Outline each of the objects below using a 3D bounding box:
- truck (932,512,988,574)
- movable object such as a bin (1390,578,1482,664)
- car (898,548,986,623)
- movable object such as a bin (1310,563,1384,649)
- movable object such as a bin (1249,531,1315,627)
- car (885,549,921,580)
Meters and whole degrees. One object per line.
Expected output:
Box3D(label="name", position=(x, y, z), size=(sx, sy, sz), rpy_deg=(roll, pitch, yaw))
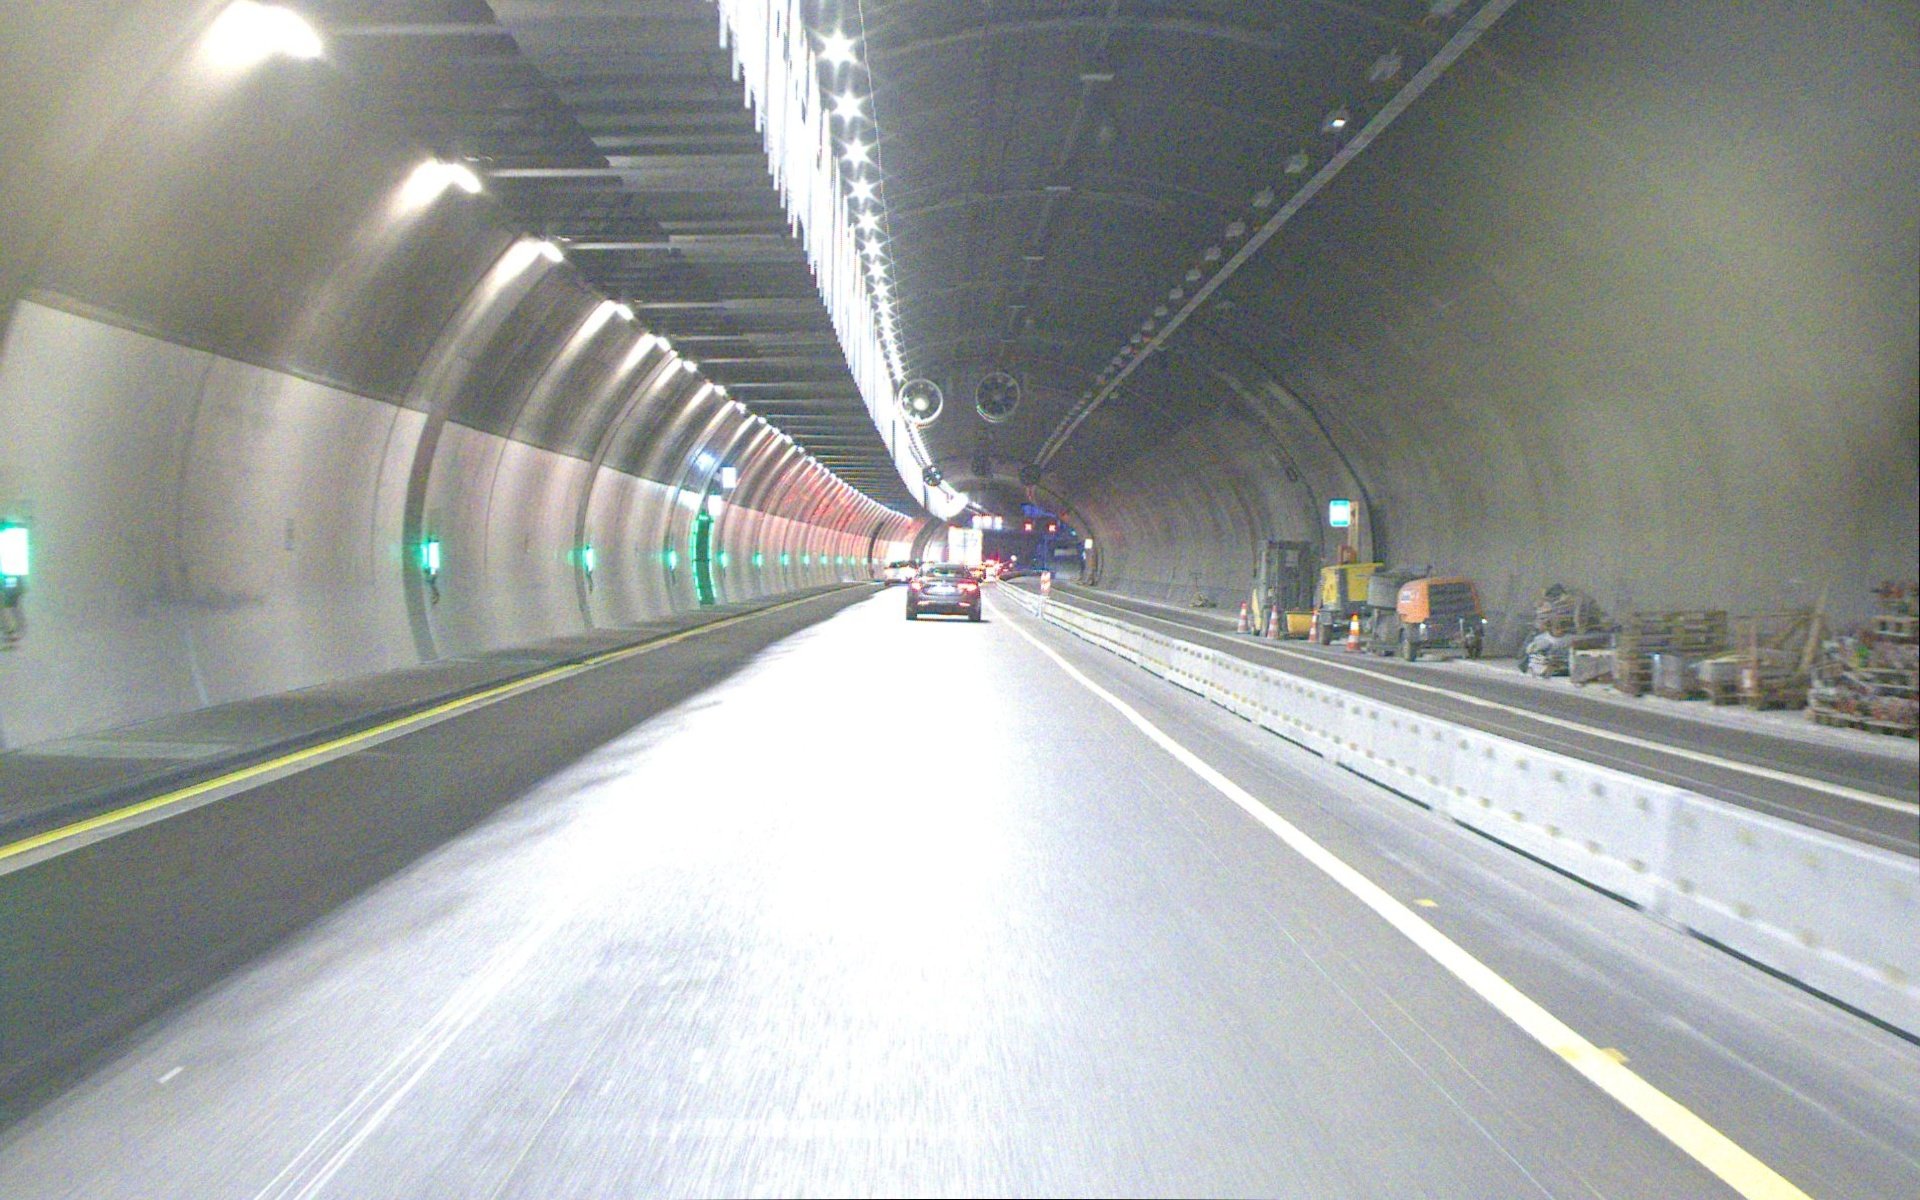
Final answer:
Box3D(label="truck", position=(-0.039, -4.390, 264.093), size=(4.066, 4.517, 14.965), rpy_deg=(-1, 1, 0))
Box3D(label="movable object such as a bin", position=(8.200, 0.346, 59.323), size=(1.234, 1.437, 2.217), rpy_deg=(0, 1, -1))
Box3D(label="car", position=(-0.488, -0.387, 86.678), size=(1.946, 1.788, 4.001), rpy_deg=(-2, 1, -3))
Box3D(label="movable object such as a bin", position=(7.942, 0.112, 70.626), size=(1.234, 1.713, 2.217), rpy_deg=(0, 1, -1))
Box3D(label="movable object such as a bin", position=(7.222, -0.479, 77.185), size=(1.234, 2.133, 2.217), rpy_deg=(0, 1, -1))
Box3D(label="car", position=(-3.251, -2.027, 197.041), size=(1.930, 1.681, 4.000), rpy_deg=(-2, 1, 1))
